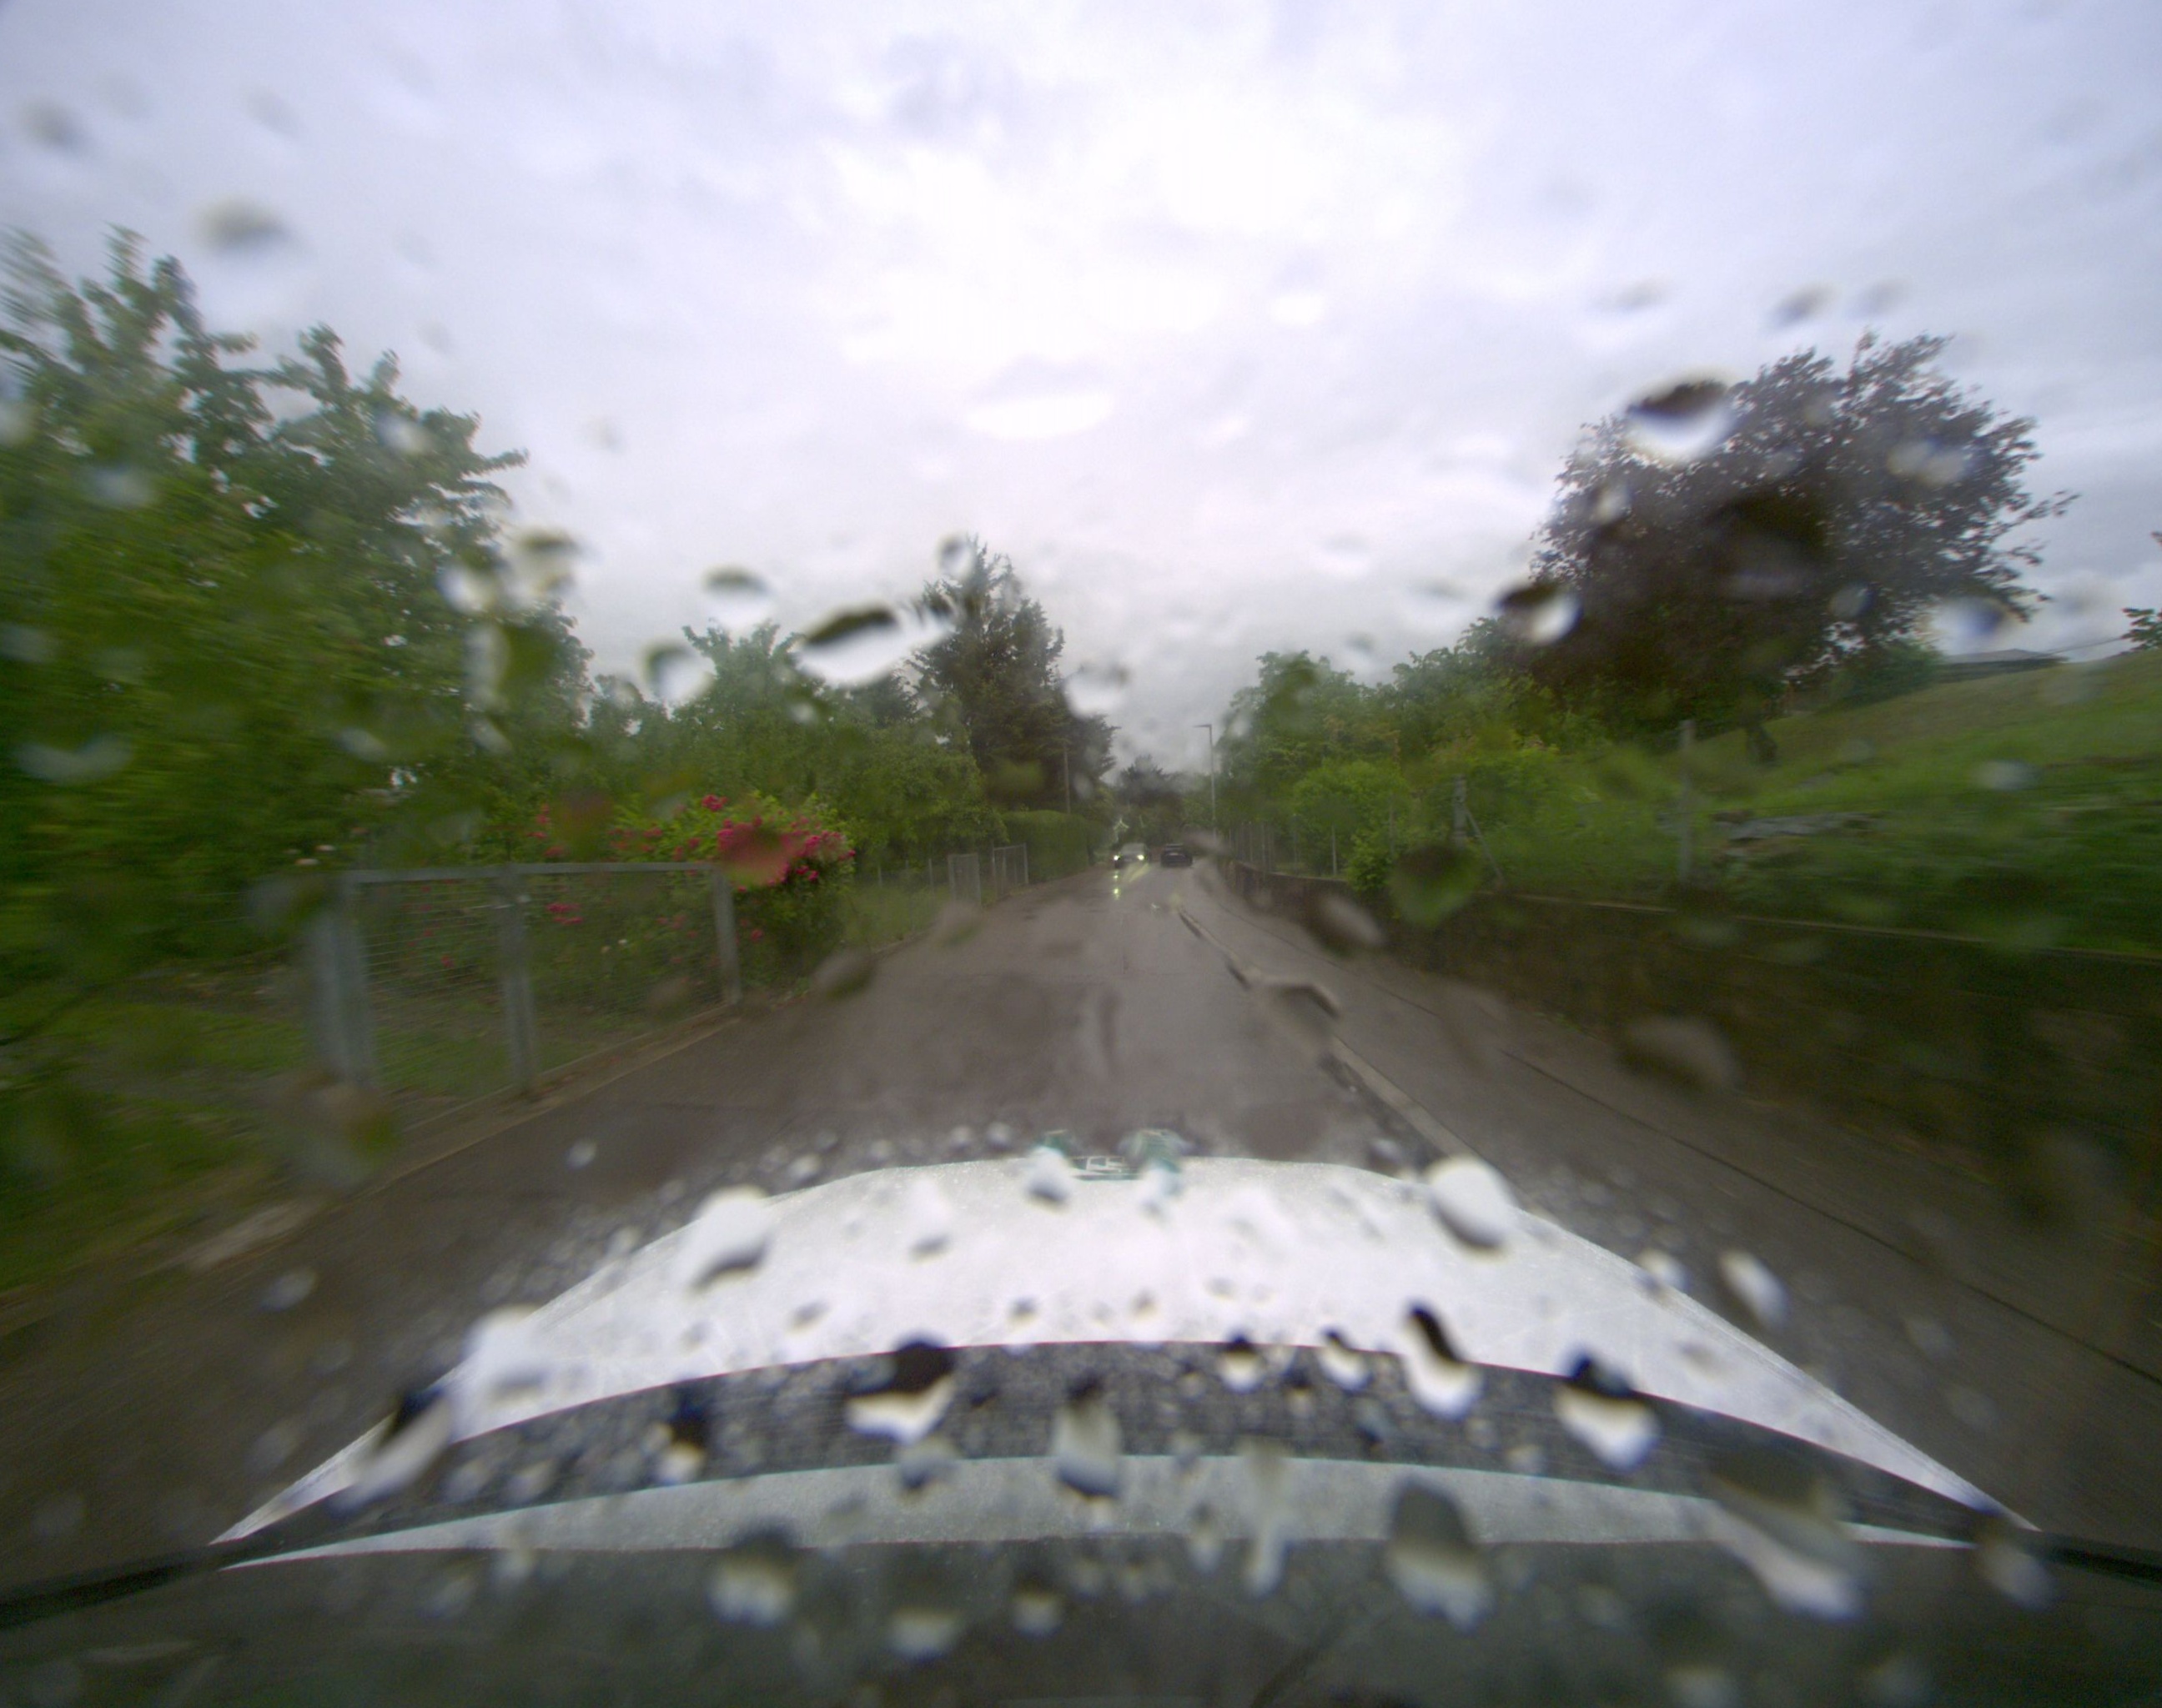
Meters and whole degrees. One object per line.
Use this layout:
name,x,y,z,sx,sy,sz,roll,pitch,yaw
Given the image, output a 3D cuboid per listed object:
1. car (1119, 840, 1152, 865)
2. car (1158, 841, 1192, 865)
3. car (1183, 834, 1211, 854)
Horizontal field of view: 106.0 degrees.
car,3.510,-0.105,51.789,1.770,1.494,3.840,-1,1,8
car,6.032,-0.055,51.821,1.823,1.464,4.012,1,0,10
car,9.763,-0.897,68.333,1.665,1.565,3.812,0,2,17
